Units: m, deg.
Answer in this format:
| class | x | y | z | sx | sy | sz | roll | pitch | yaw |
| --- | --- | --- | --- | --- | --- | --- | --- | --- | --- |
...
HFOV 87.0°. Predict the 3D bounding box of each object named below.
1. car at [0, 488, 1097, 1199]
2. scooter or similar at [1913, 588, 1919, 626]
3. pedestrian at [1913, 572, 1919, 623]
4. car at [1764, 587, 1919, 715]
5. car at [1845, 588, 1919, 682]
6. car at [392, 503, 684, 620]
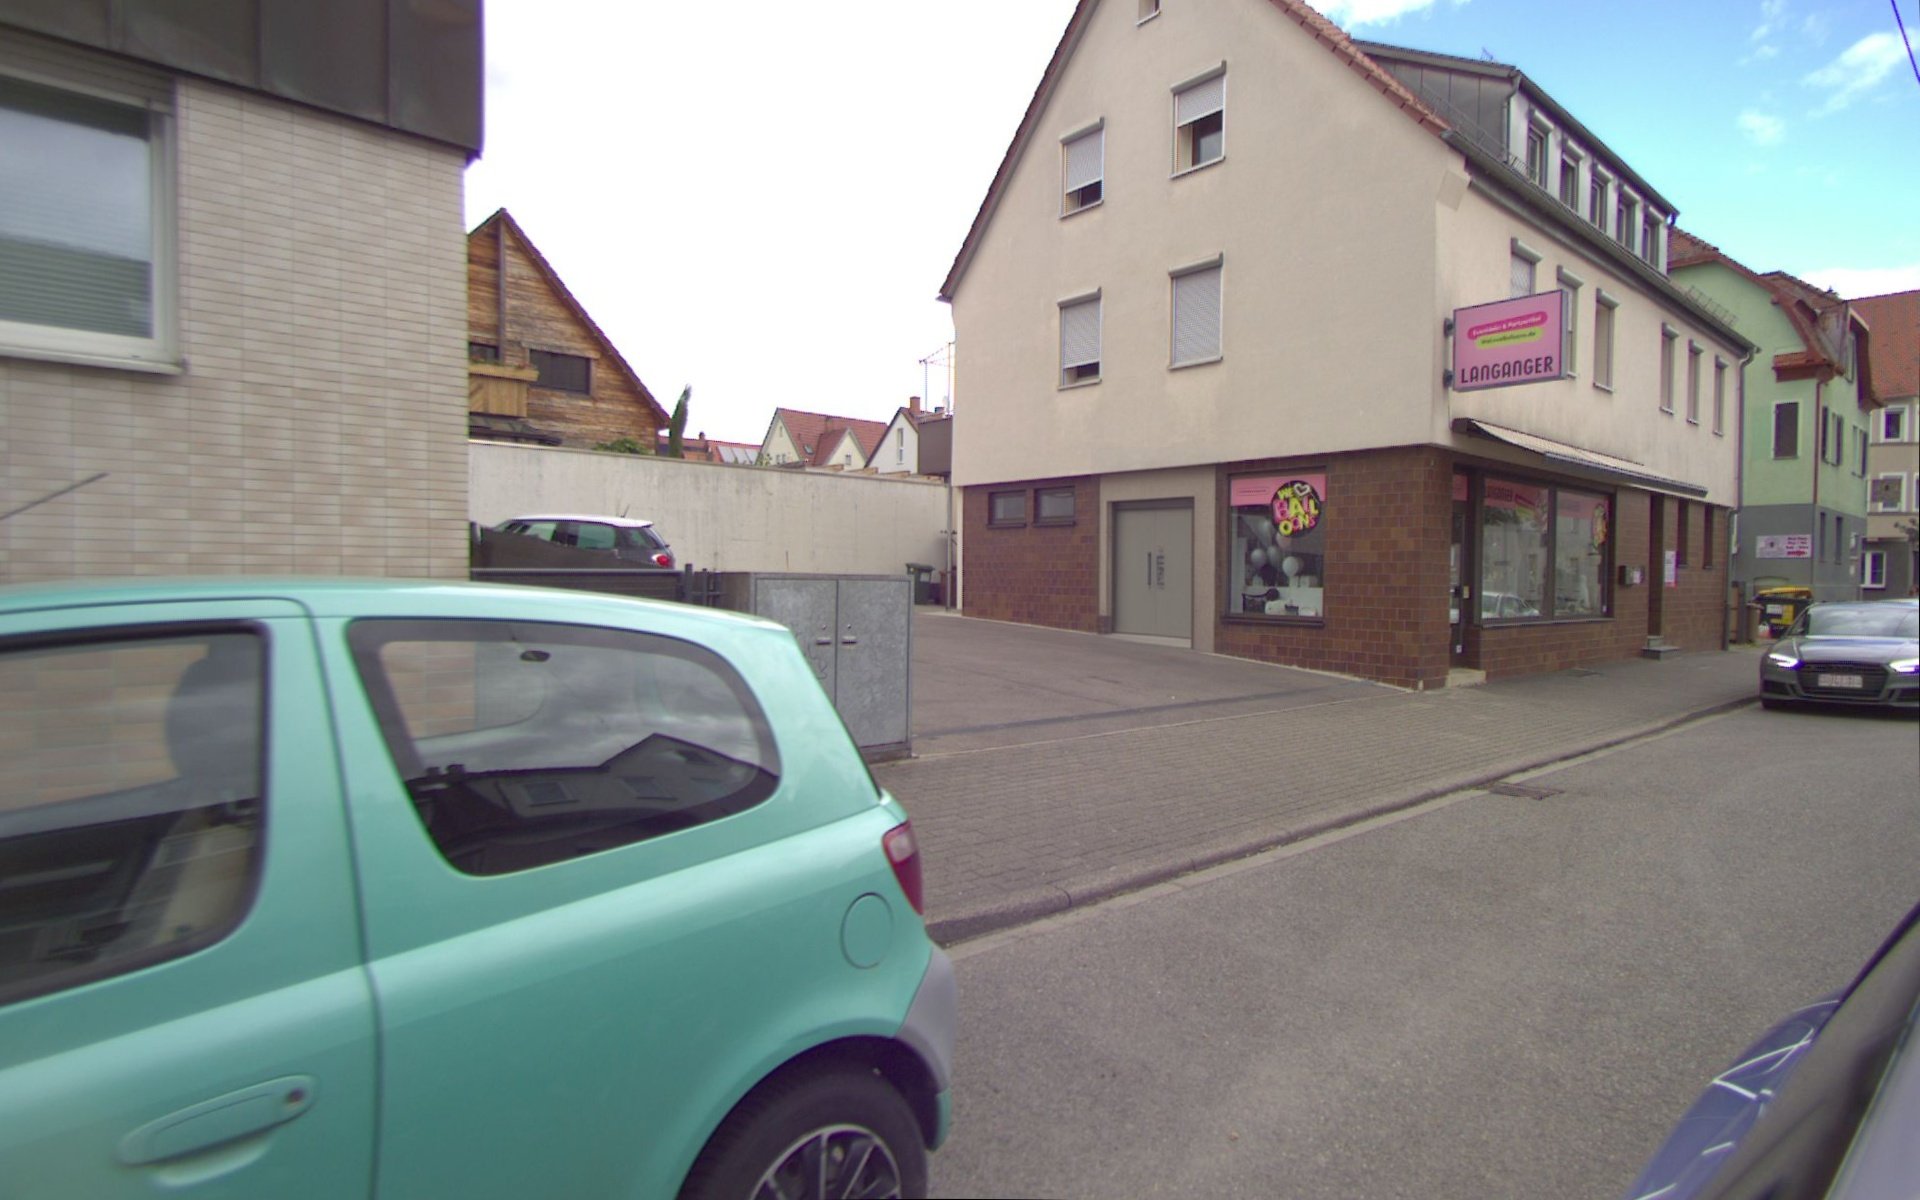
| class | x | y | z | sx | sy | sz | roll | pitch | yaw |
| --- | --- | --- | --- | --- | --- | --- | --- | --- | --- |
| car | -1.775 | 0.632 | 1.719 | 3.923 | 1.516 | 1.835 | -1 | 1 | -40 |
| scooter or similar | 32.602 | 0.229 | 34.146 | 0.876 | 1.248 | 0.590 | -1 | 1 | -41 |
| pedestrian | 33.289 | -0.077 | 34.737 | 0.884 | 1.741 | 0.752 | -1 | 0 | -40 |
| car | 12.196 | 0.571 | 13.429 | 4.041 | 1.464 | 1.833 | -1 | 1 | -43 |
| car | 16.743 | 0.529 | 17.362 | 4.257 | 1.464 | 1.834 | -1 | 1 | -42 |
| car | -6.458 | -0.616 | 15.948 | 3.917 | 1.674 | 1.932 | 0 | 4 | -11 |
